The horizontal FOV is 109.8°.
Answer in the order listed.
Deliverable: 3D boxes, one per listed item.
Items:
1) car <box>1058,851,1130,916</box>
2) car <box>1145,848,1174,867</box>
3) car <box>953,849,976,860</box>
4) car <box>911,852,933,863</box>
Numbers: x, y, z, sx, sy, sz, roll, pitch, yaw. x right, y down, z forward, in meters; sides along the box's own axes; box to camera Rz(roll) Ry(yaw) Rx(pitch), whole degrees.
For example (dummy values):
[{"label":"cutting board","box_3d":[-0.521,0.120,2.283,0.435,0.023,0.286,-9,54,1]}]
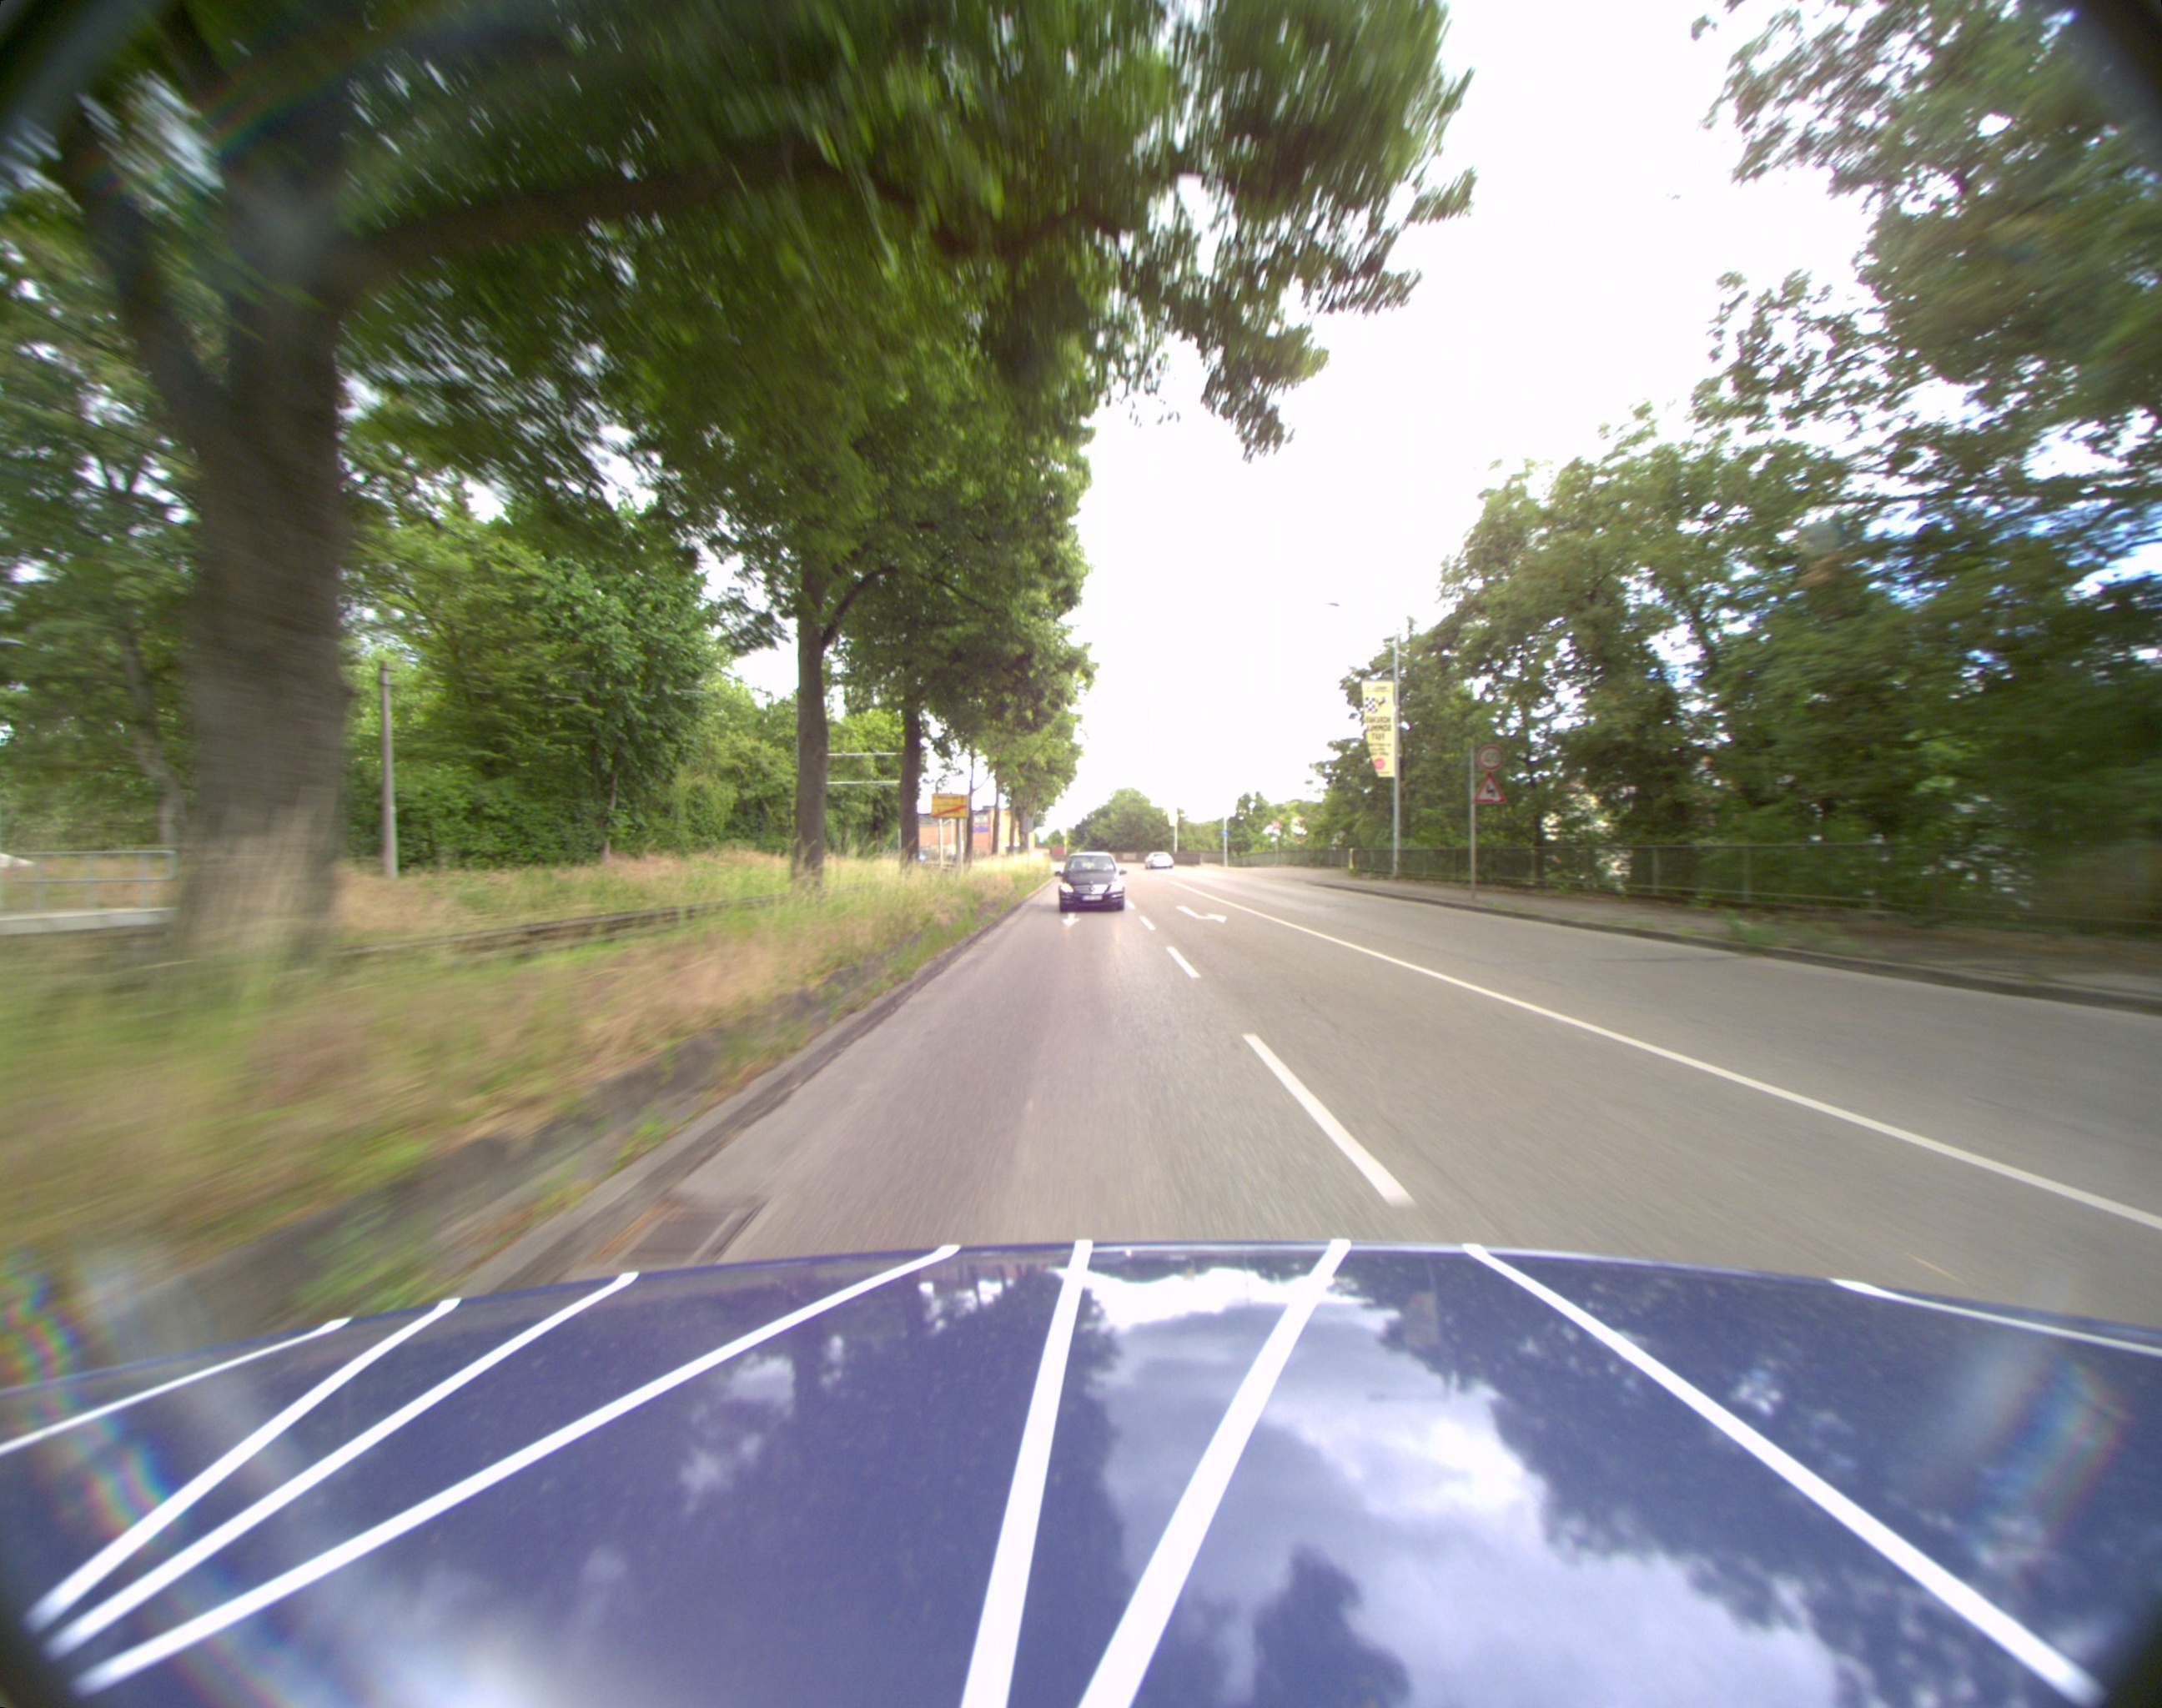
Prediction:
[{"label":"car","box_3d":[0.268,0.767,21.758,1.751,1.556,4.073,-3,1,-2]},{"label":"car","box_3d":[6.202,0.255,60.174,1.763,1.329,3.695,-3,1,-2]},{"label":"car","box_3d":[-17.822,0.079,116.422,1.728,1.598,4.003,-3,1,-37]},{"label":"car","box_3d":[-26.056,0.558,124.344,3.686,1.477,1.588,-3,1,43]}]
